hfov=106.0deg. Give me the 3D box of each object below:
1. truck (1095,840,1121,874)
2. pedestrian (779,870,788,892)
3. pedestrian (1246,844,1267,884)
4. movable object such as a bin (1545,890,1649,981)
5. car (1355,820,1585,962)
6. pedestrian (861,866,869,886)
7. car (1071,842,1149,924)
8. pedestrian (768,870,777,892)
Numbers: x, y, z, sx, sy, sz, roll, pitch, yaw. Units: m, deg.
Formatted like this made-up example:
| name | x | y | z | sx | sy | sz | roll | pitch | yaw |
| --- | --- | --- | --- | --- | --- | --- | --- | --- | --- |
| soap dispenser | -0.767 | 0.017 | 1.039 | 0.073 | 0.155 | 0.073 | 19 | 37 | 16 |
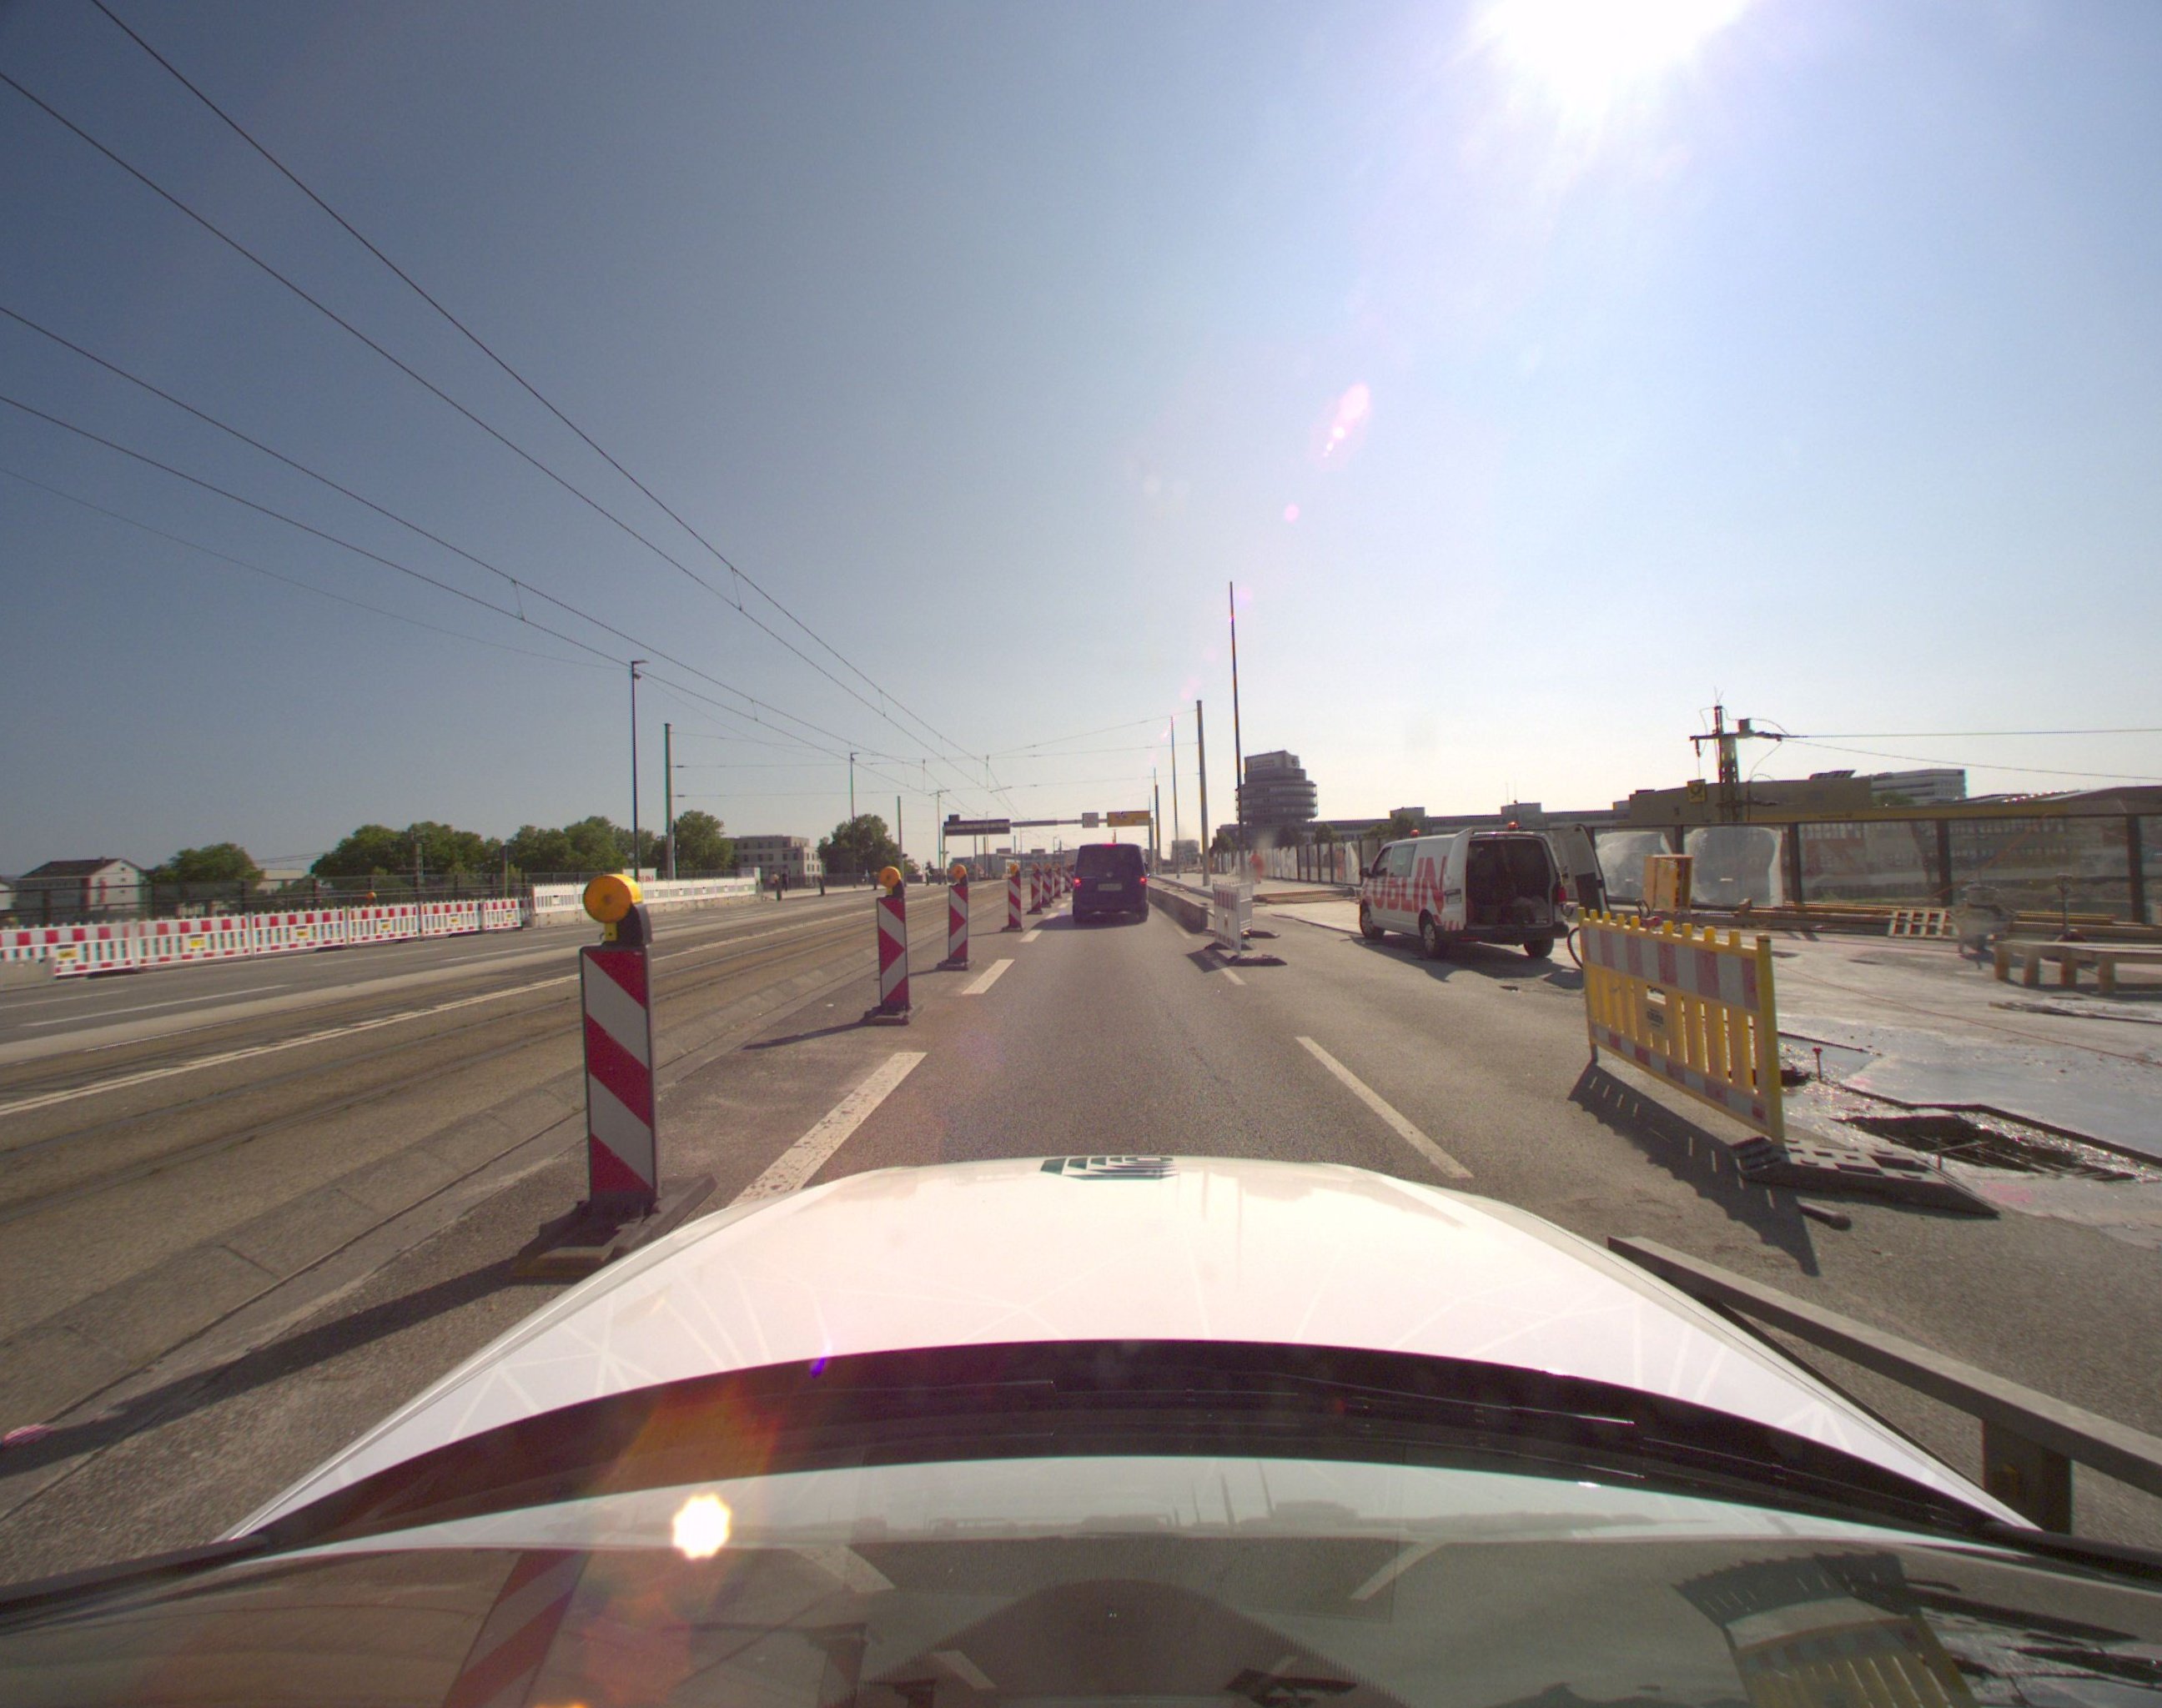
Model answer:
| name | x | y | z | sx | sy | sz | roll | pitch | yaw |
| --- | --- | --- | --- | --- | --- | --- | --- | --- | --- |
| truck | 2.796 | 0.283 | 84.104 | 2.451 | 3.134 | 11.220 | -2 | 0 | 2 |
| pedestrian | -23.672 | 2.148 | 64.827 | 0.493 | 1.694 | 0.474 | -1 | -2 | 1 |
| pedestrian | 8.791 | 0.491 | 40.864 | 0.779 | 1.935 | 0.799 | -3 | -2 | 1 |
| movable object such as a bin | 6.801 | 1.037 | 10.742 | 0.896 | 1.074 | 0.931 | -1 | -1 | -42 |
| car | 6.474 | 0.573 | 14.288 | 1.871 | 2.033 | 4.894 | -1 | -1 | 3 |
| pedestrian | -21.528 | 2.187 | 81.177 | 0.631 | 1.893 | 0.752 | -1 | -1 | 1 |
| car | 0.781 | 0.689 | 21.413 | 1.808 | 1.905 | 4.057 | -2 | 0 | 2 |
| pedestrian | -24.579 | 2.152 | 64.866 | 0.493 | 1.694 | 0.474 | -1 | -2 | 1 |
